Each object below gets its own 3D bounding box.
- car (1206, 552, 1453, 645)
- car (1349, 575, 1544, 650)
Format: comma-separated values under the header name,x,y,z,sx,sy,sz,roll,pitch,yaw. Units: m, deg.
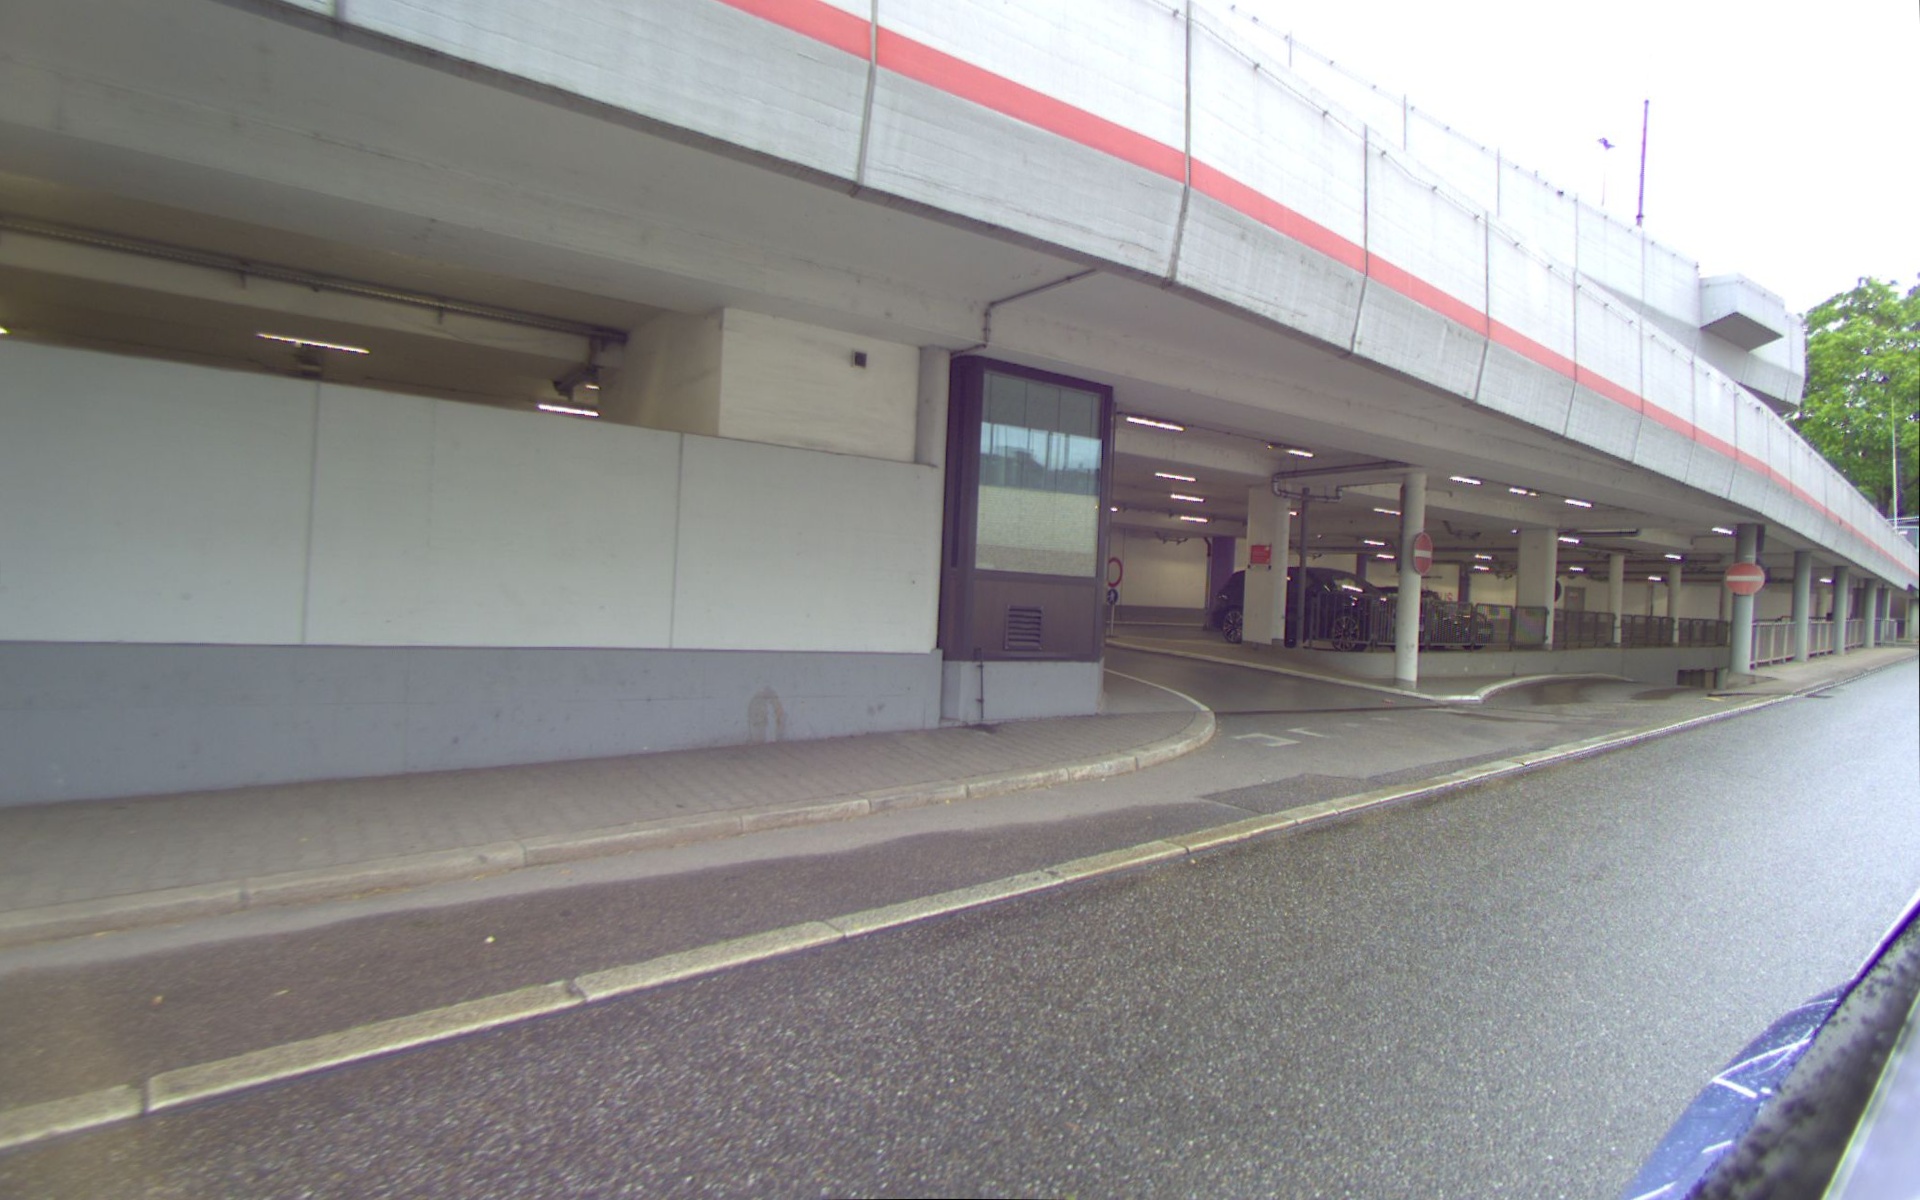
name,x,y,z,sx,sy,sz,roll,pitch,yaw
car,7.329,0.028,20.537,1.786,1.661,4.592,2,-2,-32
car,11.461,0.267,24.056,1.773,1.524,3.735,2,1,-36
